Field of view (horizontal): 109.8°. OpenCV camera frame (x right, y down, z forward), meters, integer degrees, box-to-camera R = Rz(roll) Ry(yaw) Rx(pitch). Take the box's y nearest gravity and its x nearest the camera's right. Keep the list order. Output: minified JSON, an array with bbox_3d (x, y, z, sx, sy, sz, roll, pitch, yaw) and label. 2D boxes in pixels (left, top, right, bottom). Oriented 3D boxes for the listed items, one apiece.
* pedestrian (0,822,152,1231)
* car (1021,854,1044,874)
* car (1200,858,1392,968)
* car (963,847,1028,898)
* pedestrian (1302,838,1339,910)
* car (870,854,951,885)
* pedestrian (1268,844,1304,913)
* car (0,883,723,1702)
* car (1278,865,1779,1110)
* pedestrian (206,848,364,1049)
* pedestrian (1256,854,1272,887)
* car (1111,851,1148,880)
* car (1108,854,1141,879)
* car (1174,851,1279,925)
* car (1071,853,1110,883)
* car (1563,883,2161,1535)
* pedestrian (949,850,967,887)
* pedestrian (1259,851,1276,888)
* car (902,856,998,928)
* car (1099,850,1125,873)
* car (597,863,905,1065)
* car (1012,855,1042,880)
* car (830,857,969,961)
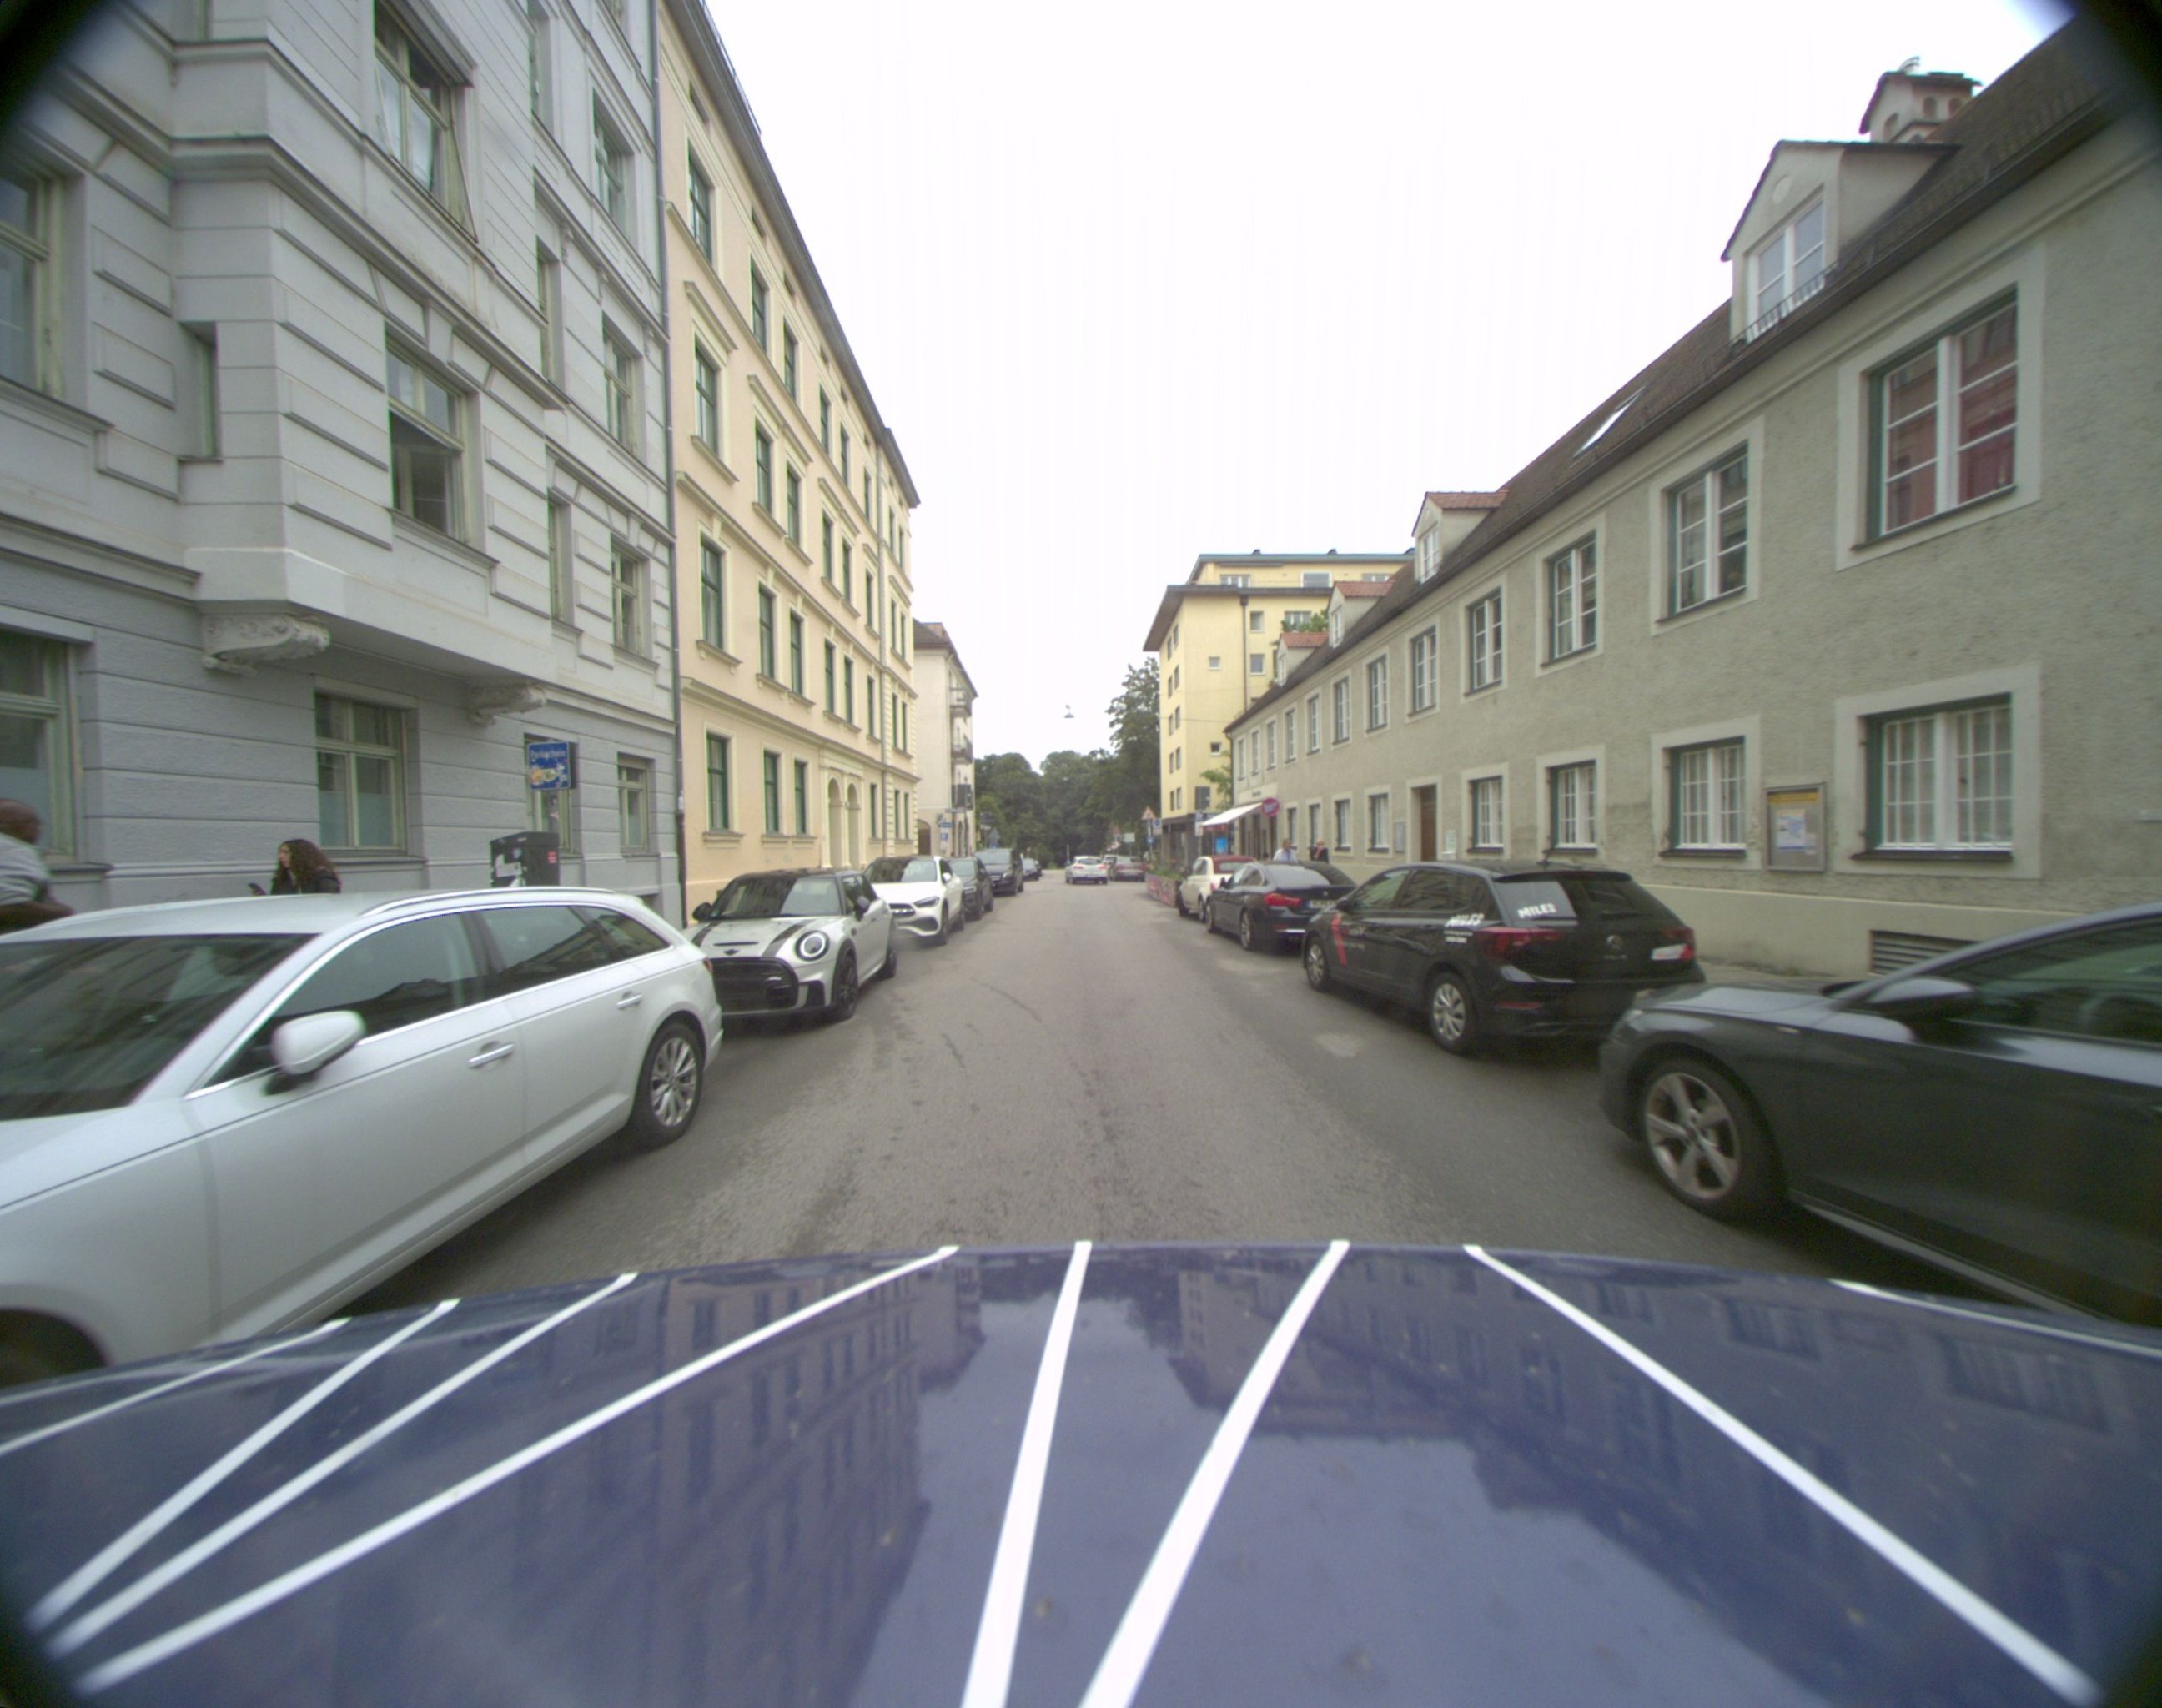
[{"bbox_3d":[-5.271,0.787,3.587,0.703,1.852,0.805,-1,1,-3],"label":"pedestrian"},{"bbox_3d":[-3.859,0.812,61.022,1.711,1.491,3.999,-1,1,-1],"label":"car"},{"bbox_3d":[3.305,0.821,12.634,1.862,1.393,4.268,-2,1,-1],"label":"car"},{"bbox_3d":[-3.366,0.672,30.854,1.998,1.850,5.113,-1,1,1],"label":"car"},{"bbox_3d":[5.713,0.463,18.174,0.582,1.689,0.806,-1,1,-4],"label":"pedestrian"},{"bbox_3d":[-9.150,0.833,41.007,3.998,1.557,1.711,-1,1,-4],"label":"car"},{"bbox_3d":[4.836,0.560,17.941,0.614,1.589,0.662,-1,1,-4],"label":"pedestrian"},{"bbox_3d":[-3.070,0.966,2.464,1.721,1.501,4.468,-1,1,-1],"label":"car"},{"bbox_3d":[3.457,0.879,7.010,1.863,1.393,4.267,-2,1,-5],"label":"car"},{"bbox_3d":[-6.545,0.743,6.277,0.646,1.566,0.625,2,1,1],"label":"pedestrian"},{"bbox_3d":[6.680,0.601,27.716,0.509,1.206,0.595,-2,-1,13],"label":"pedestrian"},{"bbox_3d":[2.699,0.618,43.102,1.711,1.491,3.999,-1,1,-1],"label":"car"},{"bbox_3d":[2.711,0.754,47.912,1.711,1.491,3.999,-1,1,-1],"label":"car"},{"bbox_3d":[3.311,0.704,17.877,1.573,1.506,3.422,-2,1,-4],"label":"car"},{"bbox_3d":[0.438,0.650,38.135,1.793,1.409,3.904,0,1,-1],"label":"car"},{"bbox_3d":[3.487,0.895,1.729,1.863,1.393,4.267,-2,1,-4],"label":"car"},{"bbox_3d":[-5.924,0.692,36.669,0.698,1.792,0.730,-1,1,-1],"label":"pedestrian"},{"bbox_3d":[6.584,0.548,26.827,0.523,1.258,0.548,-2,-1,13],"label":"pedestrian"},{"bbox_3d":[-3.216,0.880,19.431,1.721,1.557,4.142,-1,1,0],"label":"car"},{"bbox_3d":[2.287,0.536,57.101,1.711,1.550,3.999,-1,1,-1],"label":"car"},{"bbox_3d":[-3.097,0.905,8.079,1.722,1.501,3.934,-1,1,-4],"label":"car"},{"bbox_3d":[-3.418,0.836,48.625,1.711,1.491,3.999,-1,1,-1],"label":"car"},{"bbox_3d":[-3.251,0.896,14.446,1.721,1.592,4.321,-1,1,-2],"label":"car"}]
